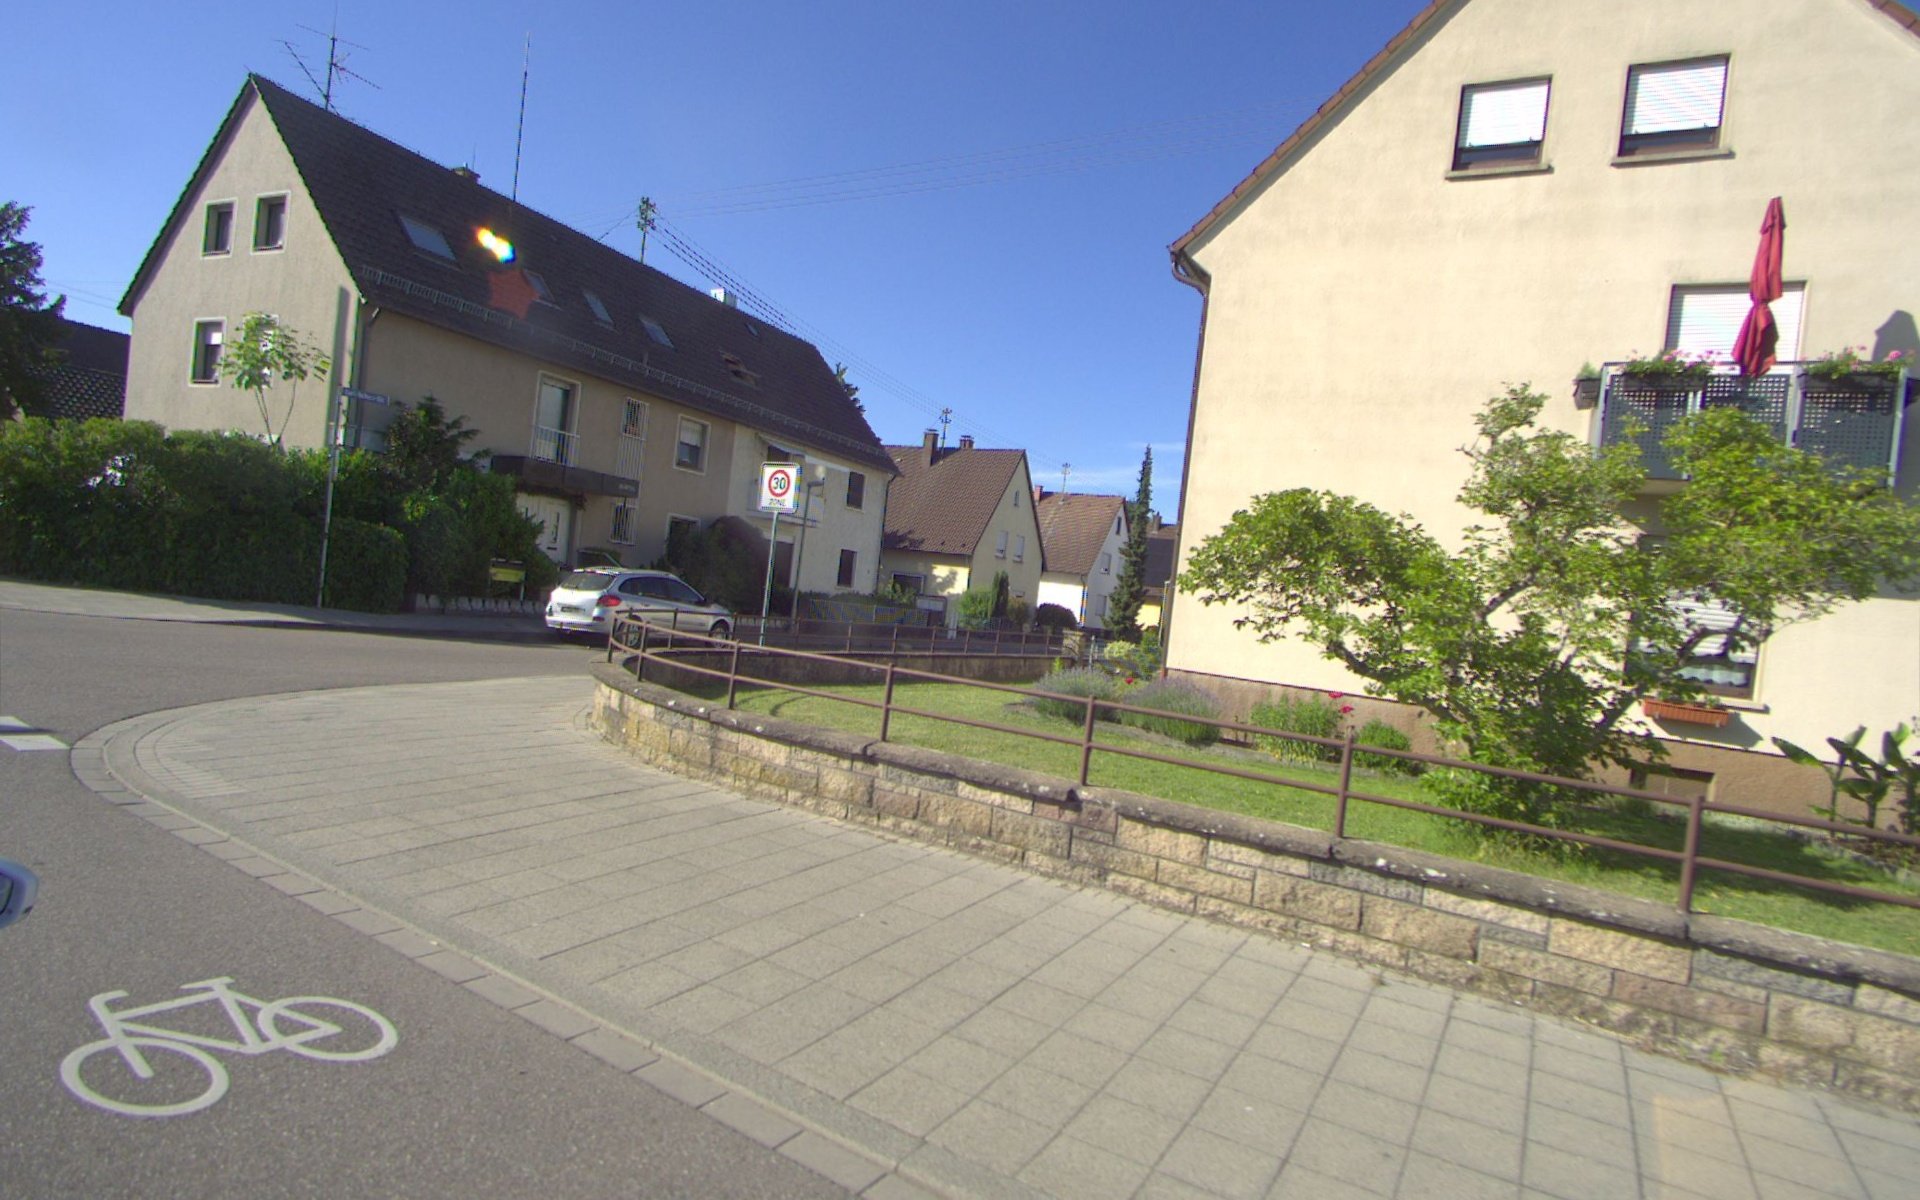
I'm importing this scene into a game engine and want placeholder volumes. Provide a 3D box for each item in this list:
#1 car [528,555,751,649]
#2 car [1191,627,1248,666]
[{"bbox_3d":[-6.232,0.105,20.081,1.770,1.530,4.148,5,-1,26],"label":"car"},{"bbox_3d":[13.232,2.386,51.179,1.881,1.706,4.224,5,-1,26],"label":"car"}]
